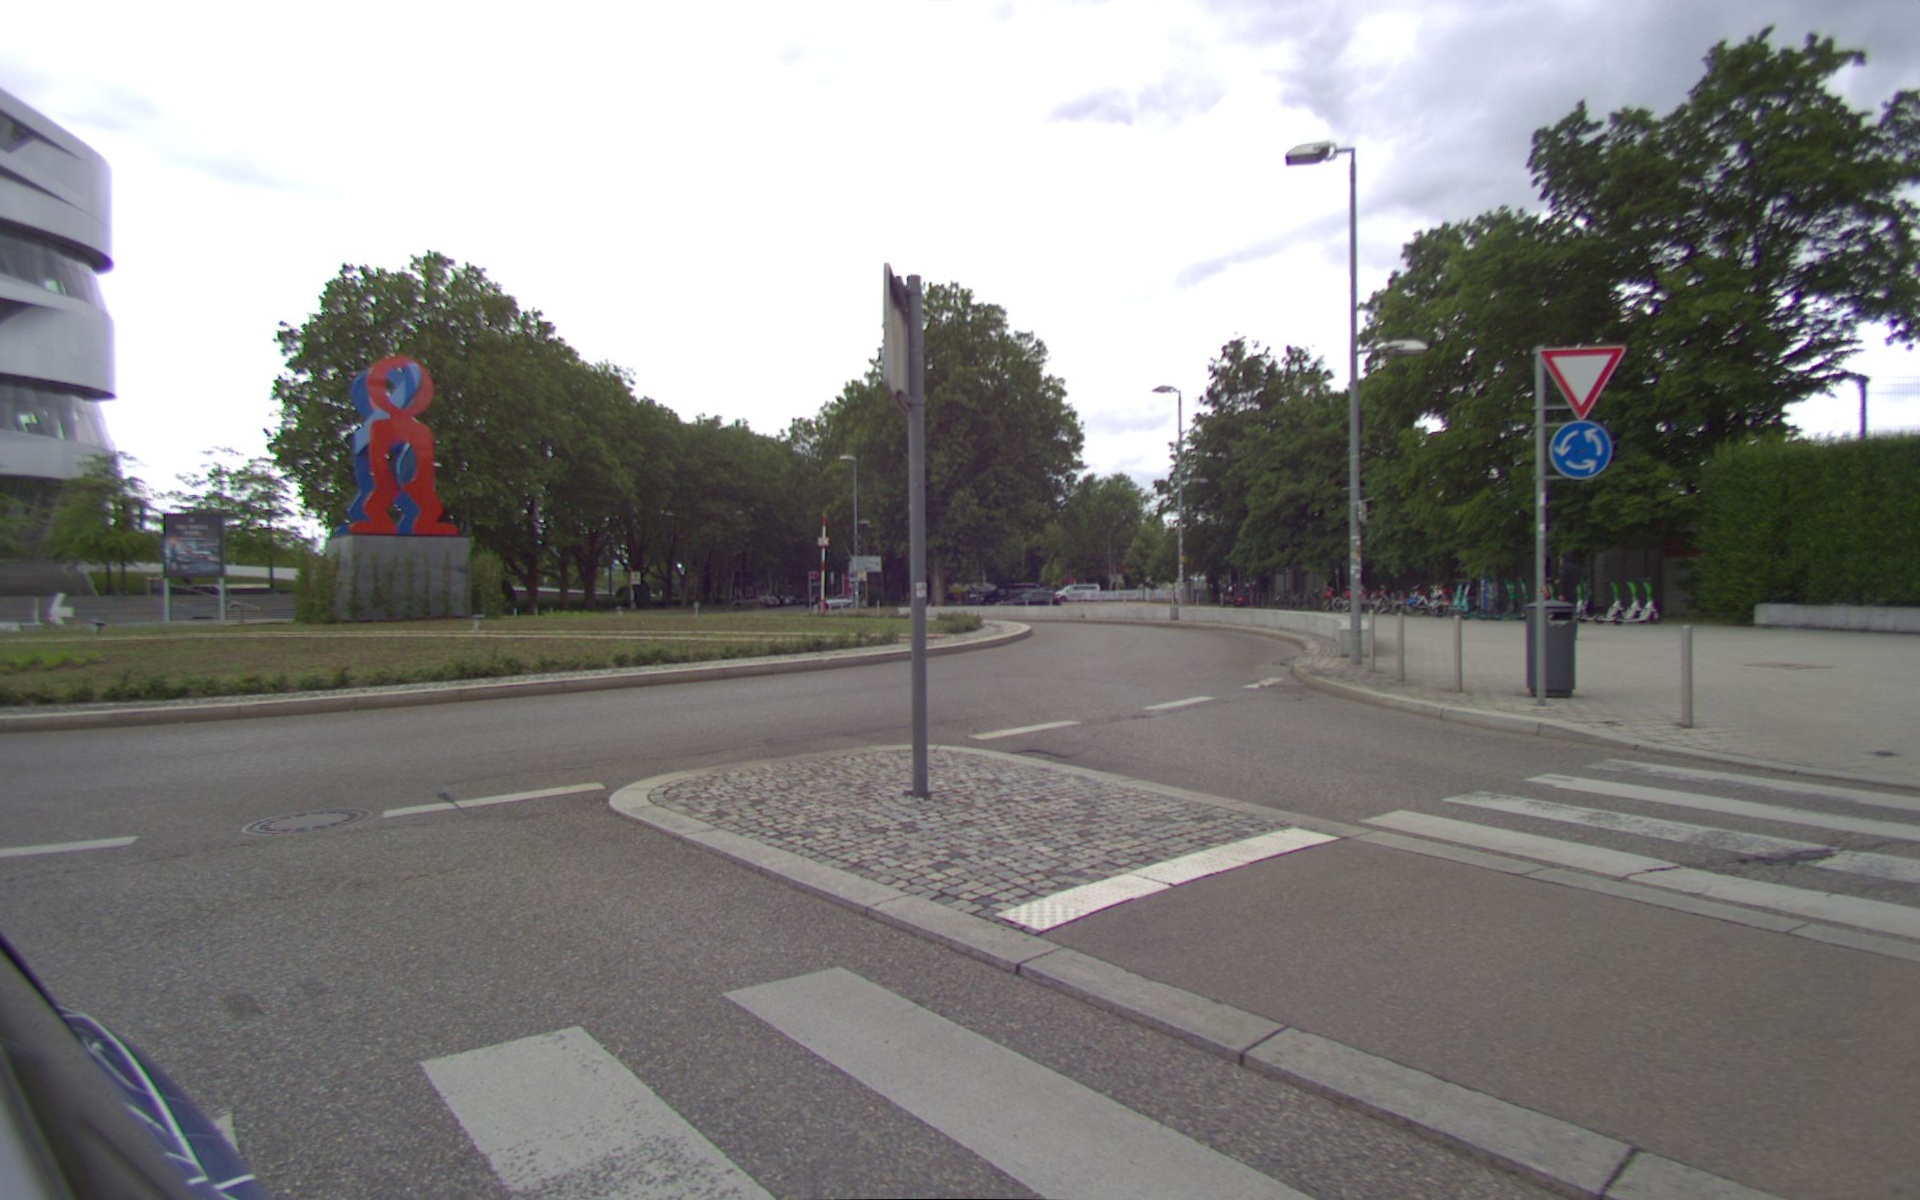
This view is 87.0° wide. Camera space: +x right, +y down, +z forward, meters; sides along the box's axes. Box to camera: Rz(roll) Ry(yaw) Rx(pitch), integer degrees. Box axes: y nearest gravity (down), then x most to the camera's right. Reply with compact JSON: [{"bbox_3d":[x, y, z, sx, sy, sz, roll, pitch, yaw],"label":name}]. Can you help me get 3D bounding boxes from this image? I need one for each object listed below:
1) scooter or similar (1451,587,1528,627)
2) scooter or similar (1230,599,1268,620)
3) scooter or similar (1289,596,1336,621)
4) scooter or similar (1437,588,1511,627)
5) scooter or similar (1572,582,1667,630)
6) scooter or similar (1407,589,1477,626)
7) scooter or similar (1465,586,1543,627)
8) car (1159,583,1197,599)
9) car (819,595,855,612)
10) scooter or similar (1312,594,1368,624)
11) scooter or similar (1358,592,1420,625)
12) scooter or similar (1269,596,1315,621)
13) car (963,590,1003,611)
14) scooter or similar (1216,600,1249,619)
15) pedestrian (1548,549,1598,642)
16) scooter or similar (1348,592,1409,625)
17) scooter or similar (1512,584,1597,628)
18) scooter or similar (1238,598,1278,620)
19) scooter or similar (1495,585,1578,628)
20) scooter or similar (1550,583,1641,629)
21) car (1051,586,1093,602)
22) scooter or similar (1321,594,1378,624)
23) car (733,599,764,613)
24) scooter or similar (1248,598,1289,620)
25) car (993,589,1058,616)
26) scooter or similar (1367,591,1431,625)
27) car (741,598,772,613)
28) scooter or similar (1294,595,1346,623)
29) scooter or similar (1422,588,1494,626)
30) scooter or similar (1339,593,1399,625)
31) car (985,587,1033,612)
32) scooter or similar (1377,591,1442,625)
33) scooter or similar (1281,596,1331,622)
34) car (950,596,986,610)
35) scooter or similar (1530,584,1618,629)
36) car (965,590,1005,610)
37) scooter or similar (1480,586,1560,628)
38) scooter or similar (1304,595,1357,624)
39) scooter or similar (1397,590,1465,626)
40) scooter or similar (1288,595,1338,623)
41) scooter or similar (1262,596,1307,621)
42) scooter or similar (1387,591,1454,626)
[{"bbox_3d":[15.957,0.210,30.525,1.946,1.117,0.641,-2,-1,-4],"label":"scooter or similar"},{"bbox_3d":[16.492,0.518,57.705,1.946,1.117,0.641,-2,-1,-4],"label":"scooter or similar"},{"bbox_3d":[16.363,0.390,46.976,1.946,1.117,0.641,-2,-1,-4],"label":"scooter or similar"},{"bbox_3d":[15.902,0.228,31.332,1.946,1.117,0.641,-2,-1,-4],"label":"scooter or similar"},{"bbox_3d":[16.414,0.140,25.210,1.946,1.117,0.641,-2,-1,-4],"label":"scooter or similar"},{"bbox_3d":[15.737,0.250,33.056,1.946,1.117,0.641,-2,-1,-4],"label":"scooter or similar"},{"bbox_3d":[15.990,0.201,29.755,1.946,1.117,0.641,-2,-1,-4],"label":"scooter or similar"},{"bbox_3d":[25.293,-1.044,117.424,3.897,1.664,1.798,-2,-1,-4],"label":"car"},{"bbox_3d":[-13.349,0.380,109.955,3.659,1.791,1.670,-2,-1,0],"label":"car"},{"bbox_3d":[15.243,0.362,40.620,1.946,1.117,0.641,-2,-1,-4],"label":"scooter or similar"},{"bbox_3d":[15.481,0.309,36.558,1.946,1.117,0.641,-2,-1,-4],"label":"scooter or similar"},{"bbox_3d":[15.915,0.409,48.531,1.946,1.117,0.641,-2,-1,-4],"label":"scooter or similar"},{"bbox_3d":[2.195,0.042,95.369,3.665,1.791,1.668,-2,-1,6],"label":"car"},{"bbox_3d":[16.408,0.575,60.997,1.782,1.103,0.546,-2,-1,-4],"label":"scooter or similar"},{"bbox_3d":[12.499,-0.084,20.628,0.791,1.821,0.856,-2,-1,33],"label":"pedestrian"},{"bbox_3d":[15.418,0.320,37.286,1.946,1.117,0.641,-2,-1,-4],"label":"scooter or similar"},{"bbox_3d":[16.191,0.174,27.585,1.946,1.117,0.641,-2,-1,-4],"label":"scooter or similar"},{"bbox_3d":[16.379,0.492,55.618,1.946,1.117,0.641,-2,-1,-4],"label":"scooter or similar"},{"bbox_3d":[16.133,0.185,28.348,1.946,1.117,0.641,-2,-1,-4],"label":"scooter or similar"},{"bbox_3d":[16.353,0.152,26.053,1.946,1.117,0.641,-2,-1,-4],"label":"scooter or similar"},{"bbox_3d":[12.764,-0.638,115.454,4.370,1.664,1.798,-2,-1,-4],"label":"car"},{"bbox_3d":[15.293,0.354,39.730,1.946,1.117,0.641,-2,-1,-4],"label":"scooter or similar"},{"bbox_3d":[-25.558,0.714,122.308,3.398,1.697,1.689,-1,0,-4],"label":"car"},{"bbox_3d":[16.429,0.467,53.998,1.946,1.117,0.641,-2,-1,-4],"label":"scooter or similar"},{"bbox_3d":[4.017,0.149,62.323,3.769,1.536,1.780,-2,-1,-3],"label":"car"},{"bbox_3d":[15.526,0.289,35.830,1.946,1.117,0.641,-2,-1,-4],"label":"scooter or similar"},{"bbox_3d":[-25.525,0.696,126.961,3.409,1.862,1.684,-1,0,7],"label":"car"},{"bbox_3d":[15.163,0.382,42.636,1.946,1.117,0.641,-2,-1,-4],"label":"scooter or similar"},{"bbox_3d":[15.826,0.226,32.202,1.946,1.117,0.641,-2,-1,-4],"label":"scooter or similar"},{"bbox_3d":[15.340,0.332,38.004,1.946,1.117,0.641,-2,-1,-4],"label":"scooter or similar"},{"bbox_3d":[3.899,-0.041,80.659,3.659,1.791,1.670,-2,-1,0],"label":"car"},{"bbox_3d":[15.591,0.287,35.120,1.946,1.117,0.641,-2,-1,-4],"label":"scooter or similar"},{"bbox_3d":[15.271,0.397,44.737,1.946,1.113,0.641,-2,-1,-4],"label":"scooter or similar"},{"bbox_3d":[0.957,0.337,117.440,3.959,1.530,1.868,-2,-1,7],"label":"car"},{"bbox_3d":[16.284,0.166,26.854,1.946,1.117,0.641,-2,-1,-4],"label":"scooter or similar"},{"bbox_3d":[2.418,0.023,97.291,3.664,1.791,1.668,-2,-1,5],"label":"car"},{"bbox_3d":[16.064,0.200,29.048,1.946,1.117,0.641,-2,-1,-4],"label":"scooter or similar"},{"bbox_3d":[15.247,0.374,41.664,1.946,1.117,0.641,-2,-1,-4],"label":"scooter or similar"},{"bbox_3d":[15.697,0.254,33.733,1.946,1.117,0.641,-2,-1,-4],"label":"scooter or similar"},{"bbox_3d":[15.327,0.395,43.962,1.946,1.117,0.641,-2,-1,-4],"label":"scooter or similar"},{"bbox_3d":[15.816,0.406,49.284,1.946,1.117,0.641,-2,-1,-4],"label":"scooter or similar"},{"bbox_3d":[15.651,0.277,34.412,1.946,1.117,0.641,-2,-1,-4],"label":"scooter or similar"}]
